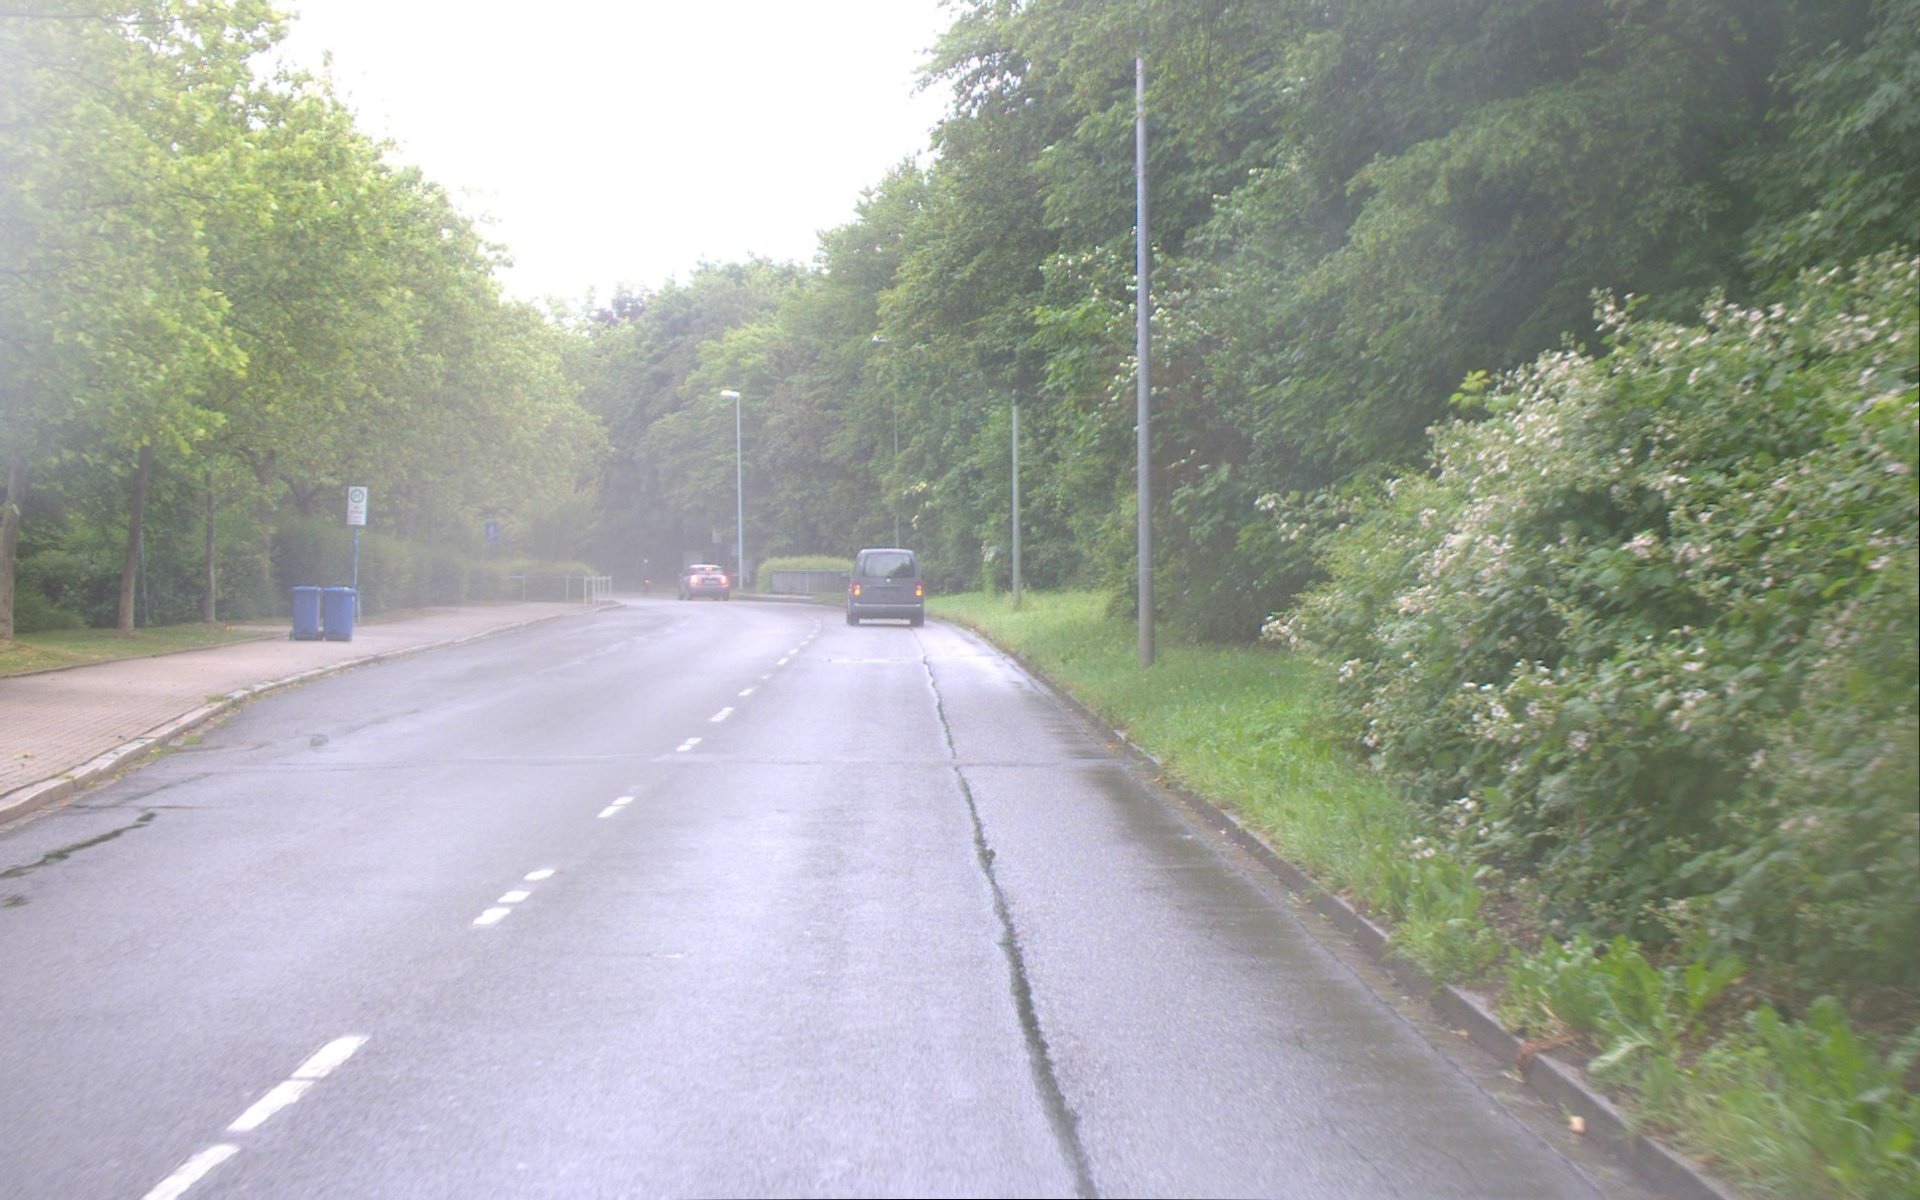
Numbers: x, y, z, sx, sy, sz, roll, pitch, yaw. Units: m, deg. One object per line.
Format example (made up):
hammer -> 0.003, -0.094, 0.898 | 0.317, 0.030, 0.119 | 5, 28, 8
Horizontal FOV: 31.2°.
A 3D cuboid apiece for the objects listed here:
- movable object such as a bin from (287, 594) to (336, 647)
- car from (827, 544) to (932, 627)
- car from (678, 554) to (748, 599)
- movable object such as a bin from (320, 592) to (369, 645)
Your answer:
movable object such as a bin -> -12.810, 0.400, 67.929 | 0.666, 1.023, 0.835 | -2, 1, -32
car -> -1.950, -0.371, 82.040 | 1.993, 1.787, 4.001 | 2, 2, -8
car -> -9.894, -0.939, 137.684 | 1.993, 1.766, 4.001 | -1, 1, -16
movable object such as a bin -> -12.227, 0.367, 68.310 | 0.666, 1.023, 0.835 | -2, 1, -32
